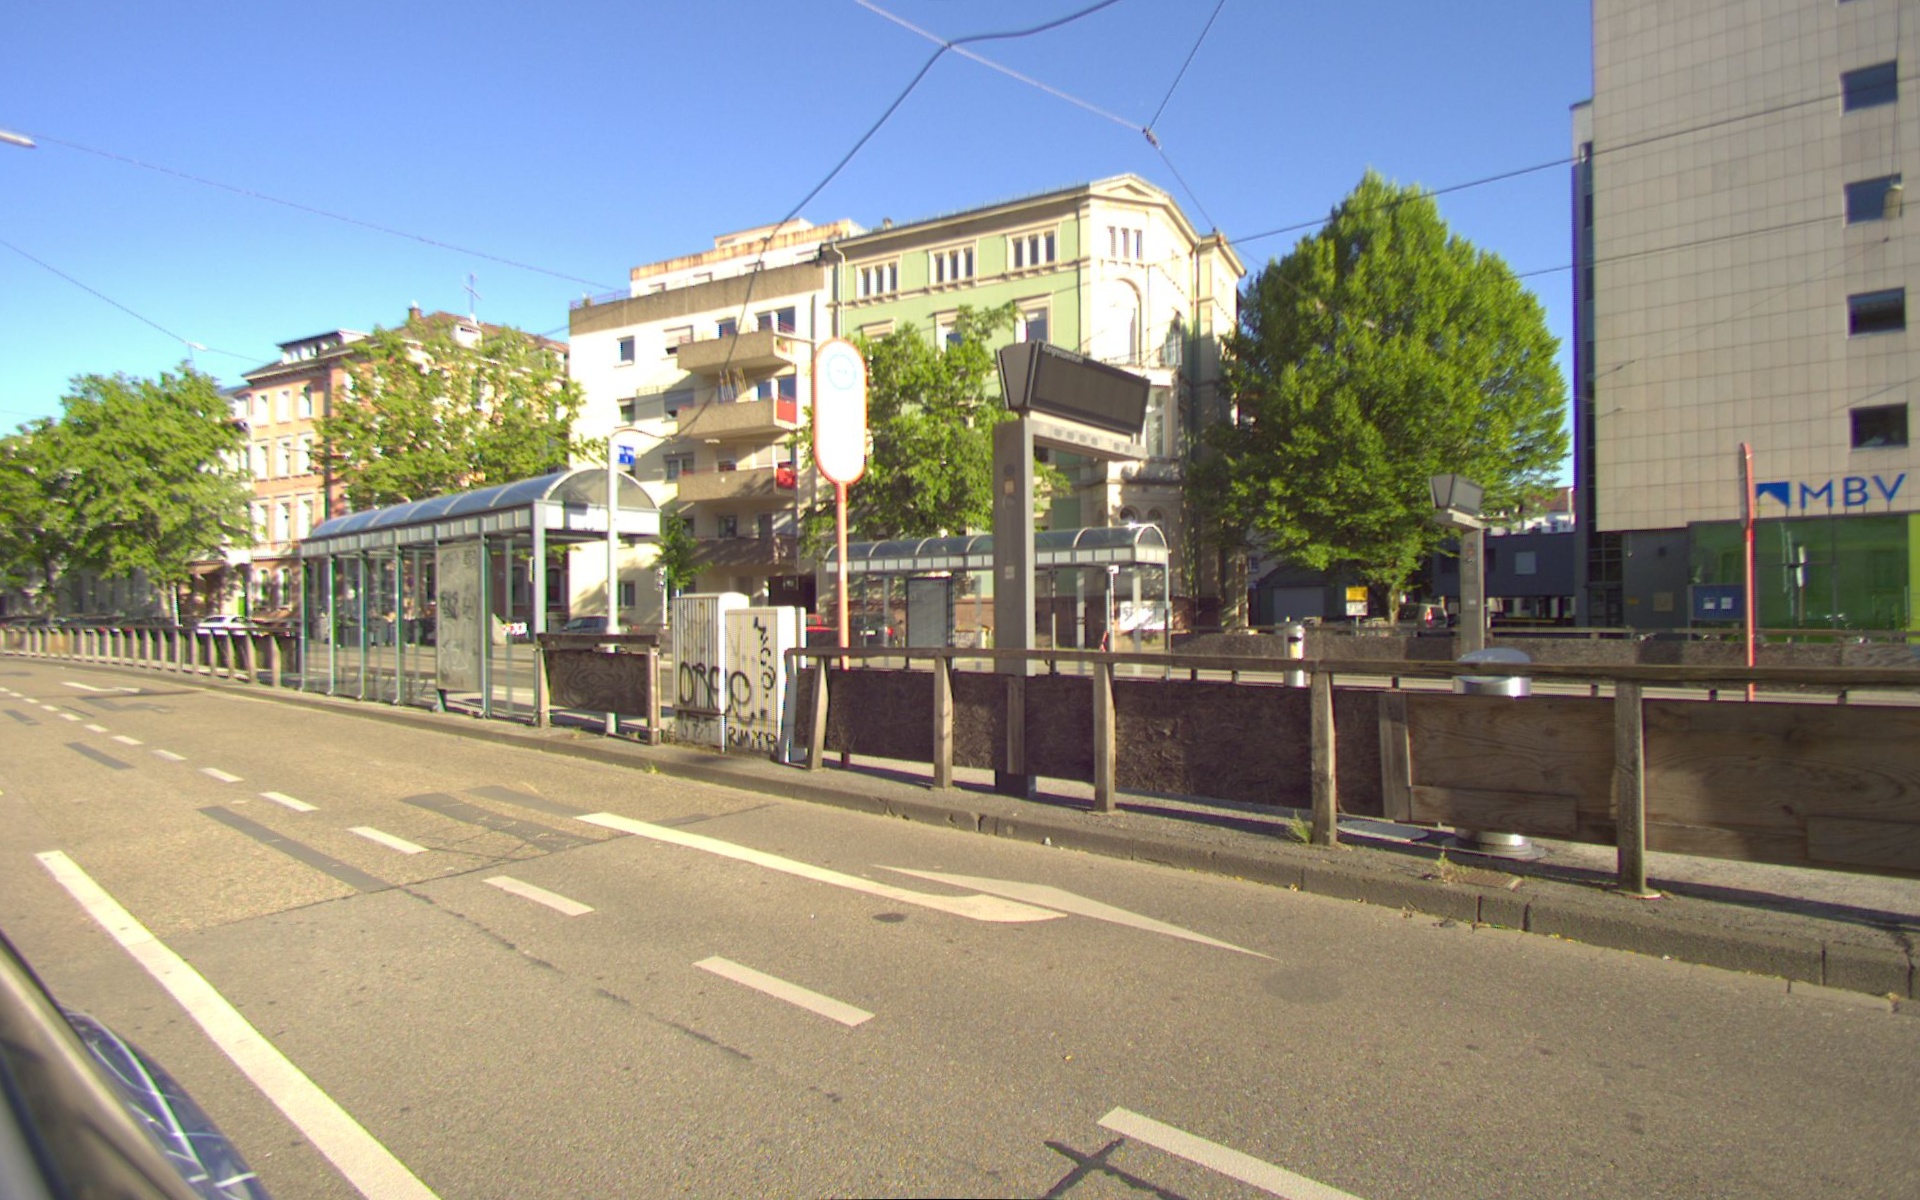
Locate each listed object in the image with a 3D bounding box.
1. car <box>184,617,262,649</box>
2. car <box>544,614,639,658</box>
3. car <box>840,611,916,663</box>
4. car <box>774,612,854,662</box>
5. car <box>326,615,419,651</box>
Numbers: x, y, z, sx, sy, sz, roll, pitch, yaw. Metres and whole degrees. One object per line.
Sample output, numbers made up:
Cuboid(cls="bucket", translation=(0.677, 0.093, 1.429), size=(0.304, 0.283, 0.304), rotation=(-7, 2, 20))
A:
Cuboid(cls="car", translation=(-39.406, 1.741, 54.207), size=(1.607, 1.579, 3.601), rotation=(-1, 0, -2))
Cuboid(cls="car", translation=(-14.040, 1.334, 38.513), size=(3.592, 1.579, 1.612), rotation=(-1, 0, 35))
Cuboid(cls="car", translation=(-2.655, 1.186, 33.365), size=(1.614, 1.579, 3.588), rotation=(-1, 0, 11))
Cuboid(cls="car", translation=(-4.928, 1.216, 34.561), size=(1.614, 1.579, 3.588), rotation=(-1, 0, 11))
Cuboid(cls="car", translation=(-28.406, 1.560, 49.049), size=(1.626, 1.579, 3.560), rotation=(-1, 0, 33))
